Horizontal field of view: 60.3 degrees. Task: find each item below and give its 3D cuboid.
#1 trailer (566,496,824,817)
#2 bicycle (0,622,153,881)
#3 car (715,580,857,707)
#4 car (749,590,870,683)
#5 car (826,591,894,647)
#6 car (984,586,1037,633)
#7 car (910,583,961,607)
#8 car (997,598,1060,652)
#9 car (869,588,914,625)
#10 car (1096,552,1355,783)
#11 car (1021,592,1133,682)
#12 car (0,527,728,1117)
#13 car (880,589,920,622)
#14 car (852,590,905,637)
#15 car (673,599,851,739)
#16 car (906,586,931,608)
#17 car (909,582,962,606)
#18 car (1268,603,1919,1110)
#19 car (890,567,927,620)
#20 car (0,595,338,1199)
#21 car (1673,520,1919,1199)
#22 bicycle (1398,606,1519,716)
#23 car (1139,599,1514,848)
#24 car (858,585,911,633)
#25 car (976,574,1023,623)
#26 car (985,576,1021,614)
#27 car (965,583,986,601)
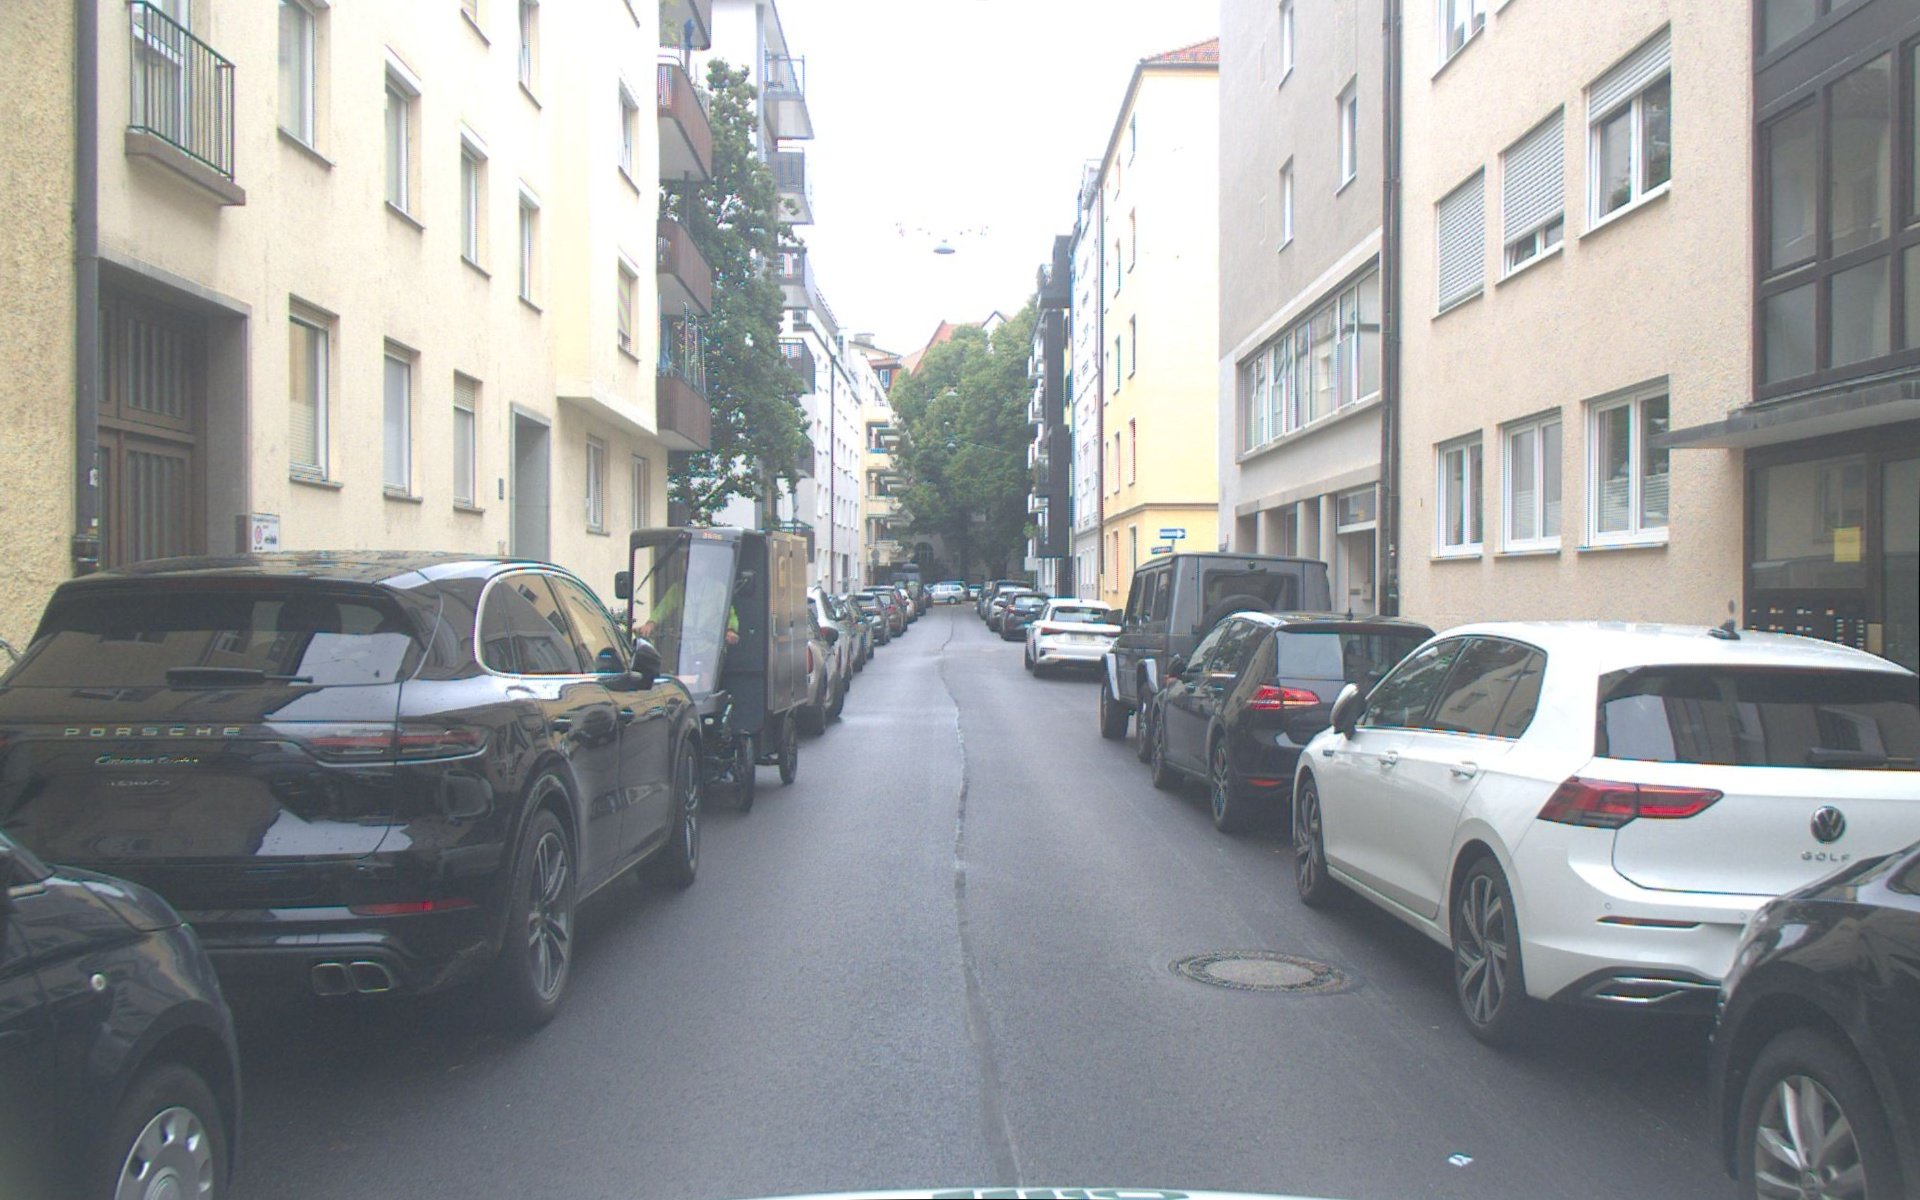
[{"bbox_3d":[-1.931,0.392,12.843,1.327,2.153,3.319,1,0,2],"label":"trailer"},{"bbox_3d":[-5.242,0.796,9.344,0.582,1.301,1.551,3,0,-2],"label":"bicycle"},{"bbox_3d":[-2.497,0.587,24.608,1.730,1.704,4.366,-1,0,-1],"label":"car"},{"bbox_3d":[-2.671,0.604,30.189,1.729,1.509,4.424,-1,1,1],"label":"car"},{"bbox_3d":[-2.804,0.500,46.932,1.658,1.467,3.942,-1,0,0],"label":"car"},{"bbox_3d":[1.860,0.329,62.143,1.648,1.595,4.414,3,1,-2],"label":"car"},{"bbox_3d":[-1.846,-0.368,124.149,3.807,1.612,1.647,-3,0,-2],"label":"car"},{"bbox_3d":[2.120,0.746,52.136,1.715,1.495,4.342,3,1,-1],"label":"car"},{"bbox_3d":[-3.013,0.255,73.467,1.740,1.513,4.519,-3,0,0],"label":"car"},{"bbox_3d":[2.569,0.583,17.045,1.716,2.010,4.341,2,1,-3],"label":"car"},{"bbox_3d":[2.204,0.669,32.108,1.782,1.432,3.952,1,3,-1],"label":"car"},{"bbox_3d":[-2.257,0.645,6.993,1.840,1.689,4.415,-1,0,1],"label":"car"},{"bbox_3d":[-2.845,0.234,78.983,1.741,1.478,4.045,-3,0,-1],"label":"car"},{"bbox_3d":[-2.680,0.422,54.836,1.659,1.467,3.976,-1,0,-2],"label":"car"},{"bbox_3d":[-2.214,0.726,19.360,1.618,1.461,3.802,-1,0,0],"label":"car"},{"bbox_3d":[-2.807,-0.232,112.262,1.609,1.407,3.482,-3,0,-1],"label":"car"},{"bbox_3d":[-1.805,-0.438,122.144,3.807,1.612,1.647,-3,0,-2],"label":"car"},{"bbox_3d":[2.657,0.791,7.120,1.677,1.512,4.242,1,0,-3],"label":"car"},{"bbox_3d":[-2.872,-0.380,93.666,1.897,2.850,4.532,-3,0,-1],"label":"car"},{"bbox_3d":[-2.268,0.745,2.166,1.530,1.486,3.476,-1,0,1],"label":"car"},{"bbox_3d":[2.697,0.678,2.069,1.677,1.636,4.243,1,0,-1],"label":"car"},{"bbox_3d":[5.191,0.606,17.324,0.631,1.046,1.796,-4,0,-1],"label":"bicycle"},{"bbox_3d":[2.512,0.778,12.386,1.677,1.512,4.242,1,0,-3],"label":"car"},{"bbox_3d":[-2.739,0.298,60.741,1.740,1.657,4.414,-1,0,-1],"label":"car"},{"bbox_3d":[1.651,-0.090,69.895,1.792,1.943,4.415,2,1,0],"label":"car"},{"bbox_3d":[2.479,-0.295,96.464,1.792,2.034,4.415,3,0,-1],"label":"car"},{"bbox_3d":[1.282,-0.671,139.441,1.609,1.407,3.745,-3,0,-1],"label":"car"}]
